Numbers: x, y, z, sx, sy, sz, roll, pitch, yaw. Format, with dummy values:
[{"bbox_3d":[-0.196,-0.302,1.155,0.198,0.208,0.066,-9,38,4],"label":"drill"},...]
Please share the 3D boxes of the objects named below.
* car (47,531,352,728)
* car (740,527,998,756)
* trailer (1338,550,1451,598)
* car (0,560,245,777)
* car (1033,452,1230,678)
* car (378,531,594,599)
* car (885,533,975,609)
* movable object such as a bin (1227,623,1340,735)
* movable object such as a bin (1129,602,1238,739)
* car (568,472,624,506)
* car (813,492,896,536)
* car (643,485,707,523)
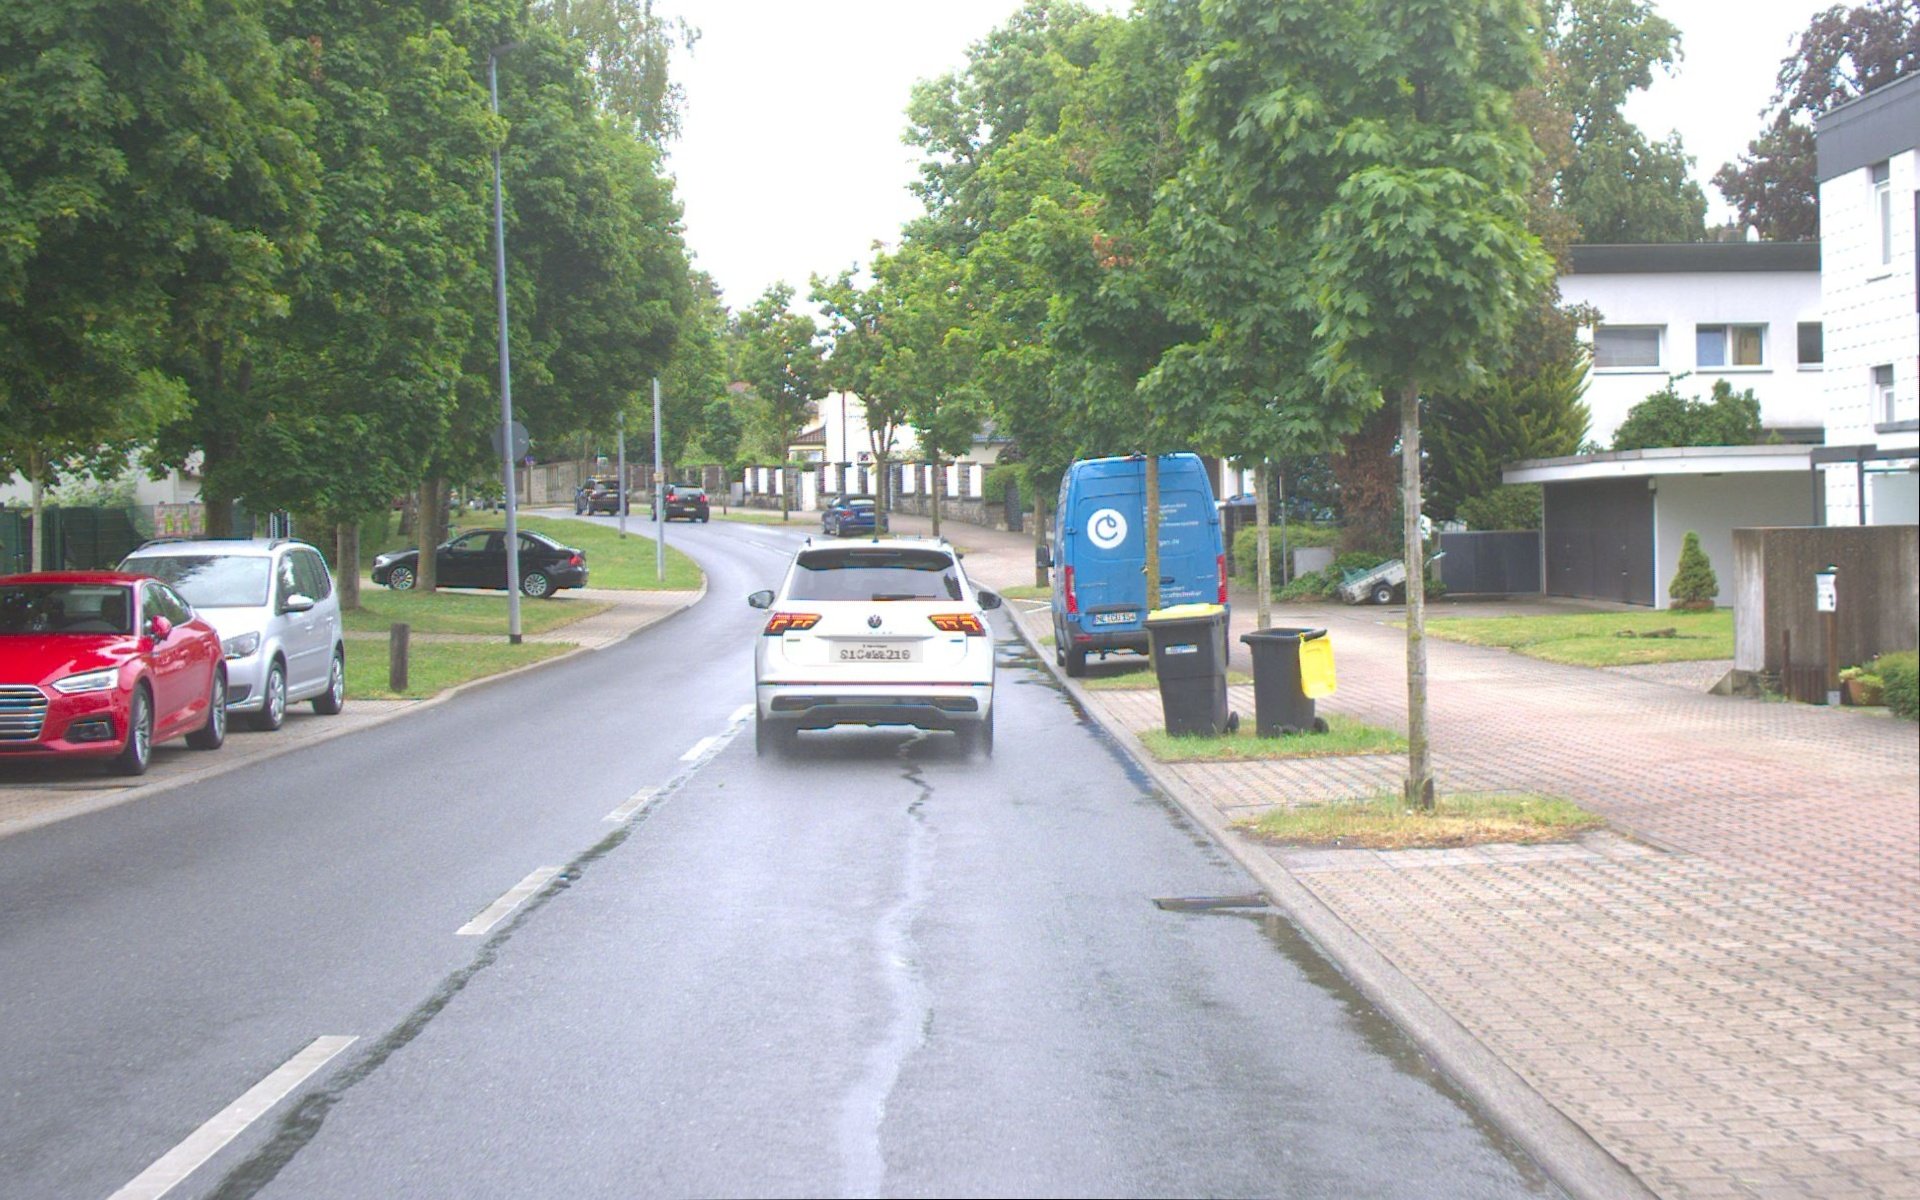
[{"bbox_3d":[-6.647,0.207,30.476,1.756,1.622,4.232,0,1,0],"label":"car"},{"bbox_3d":[-0.754,0.274,27.313,1.865,1.645,4.001,-1,1,-2],"label":"car"},{"bbox_3d":[8.351,-0.514,66.182,2.042,0.880,1.364,1,1,2],"label":"trailer"},{"bbox_3d":[-6.606,0.427,24.912,1.993,1.398,4.557,0,1,-1],"label":"car"},{"bbox_3d":[2.078,-0.469,43.242,1.993,2.578,5.634,-2,1,-1],"label":"car"},{"bbox_3d":[-9.889,-0.742,71.884,4.219,1.358,1.690,1,1,4],"label":"car"},{"bbox_3d":[-0.655,-0.610,72.470,1.769,1.546,4.000,-1,1,-2],"label":"car"},{"bbox_3d":[2.482,0.602,26.357,0.660,0.797,0.600,-4,0,25],"label":"movable object such as a bin"},{"bbox_3d":[1.757,0.551,26.973,0.615,1.011,0.562,-5,-1,25],"label":"movable object such as a bin"},{"bbox_3d":[-15.877,-4.871,149.990,1.642,1.422,4.002,0,2,-18],"label":"car"},{"bbox_3d":[-3.624,-2.943,117.574,1.642,1.422,4.002,0,2,-20],"label":"car"},{"bbox_3d":[-11.234,-3.780,135.195,1.642,1.422,4.002,0,2,-18],"label":"car"}]
